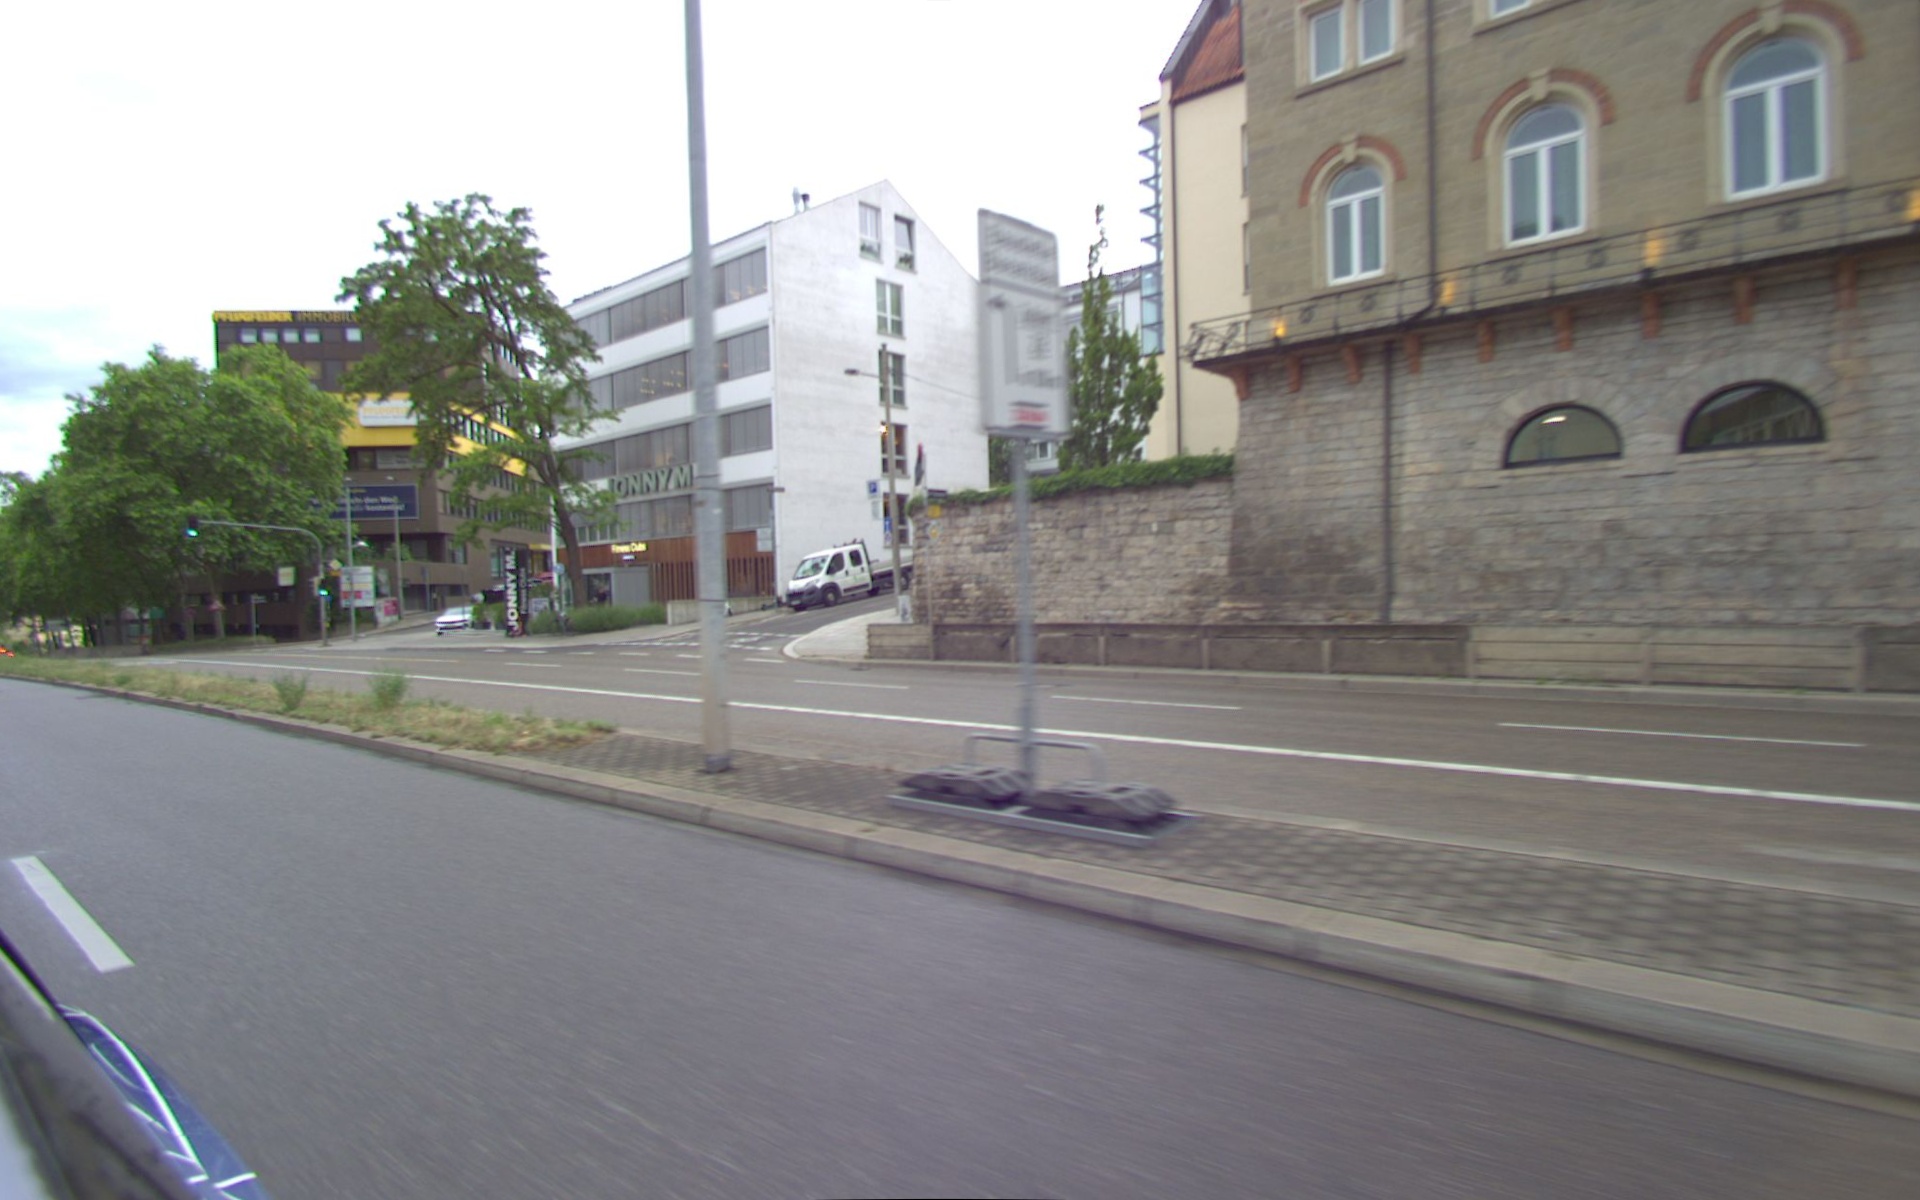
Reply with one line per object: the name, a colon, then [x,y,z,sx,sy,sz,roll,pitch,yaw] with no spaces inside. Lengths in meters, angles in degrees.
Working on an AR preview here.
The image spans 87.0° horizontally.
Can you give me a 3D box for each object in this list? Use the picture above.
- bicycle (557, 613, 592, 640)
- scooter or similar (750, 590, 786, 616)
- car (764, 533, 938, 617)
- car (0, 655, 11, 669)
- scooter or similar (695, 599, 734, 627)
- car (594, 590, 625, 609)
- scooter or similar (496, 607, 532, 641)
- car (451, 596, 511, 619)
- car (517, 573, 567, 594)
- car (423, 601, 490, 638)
bicycle: [-15.141,1.038,39.731,1.757,0.999,0.452,-2,0,41]
scooter or similar: [-7.849,0.118,41.449,0.443,0.928,1.455,-3,4,38]
car: [-4.220,-1.078,40.652,2.513,2.291,6.836,-7,4,41]
car: [-104.420,6.774,109.199,4.870,1.458,1.976,-3,-2,35]
scooter or similar: [-9.629,0.493,39.689,0.443,0.928,1.455,-3,4,38]
car: [-34.801,-0.070,100.570,1.968,1.586,4.496,-4,2,-8]
scooter or similar: [-18.546,0.989,42.147,0.366,1.256,1.750,-3,3,11]
car: [-38.419,0.601,81.241,3.938,1.696,1.823,-3,0,-6]
car: [-39.283,-1.574,95.184,3.938,1.696,1.824,-2,4,-6]
car: [-27.377,1.039,55.228,1.968,1.666,4.855,-4,2,-11]
